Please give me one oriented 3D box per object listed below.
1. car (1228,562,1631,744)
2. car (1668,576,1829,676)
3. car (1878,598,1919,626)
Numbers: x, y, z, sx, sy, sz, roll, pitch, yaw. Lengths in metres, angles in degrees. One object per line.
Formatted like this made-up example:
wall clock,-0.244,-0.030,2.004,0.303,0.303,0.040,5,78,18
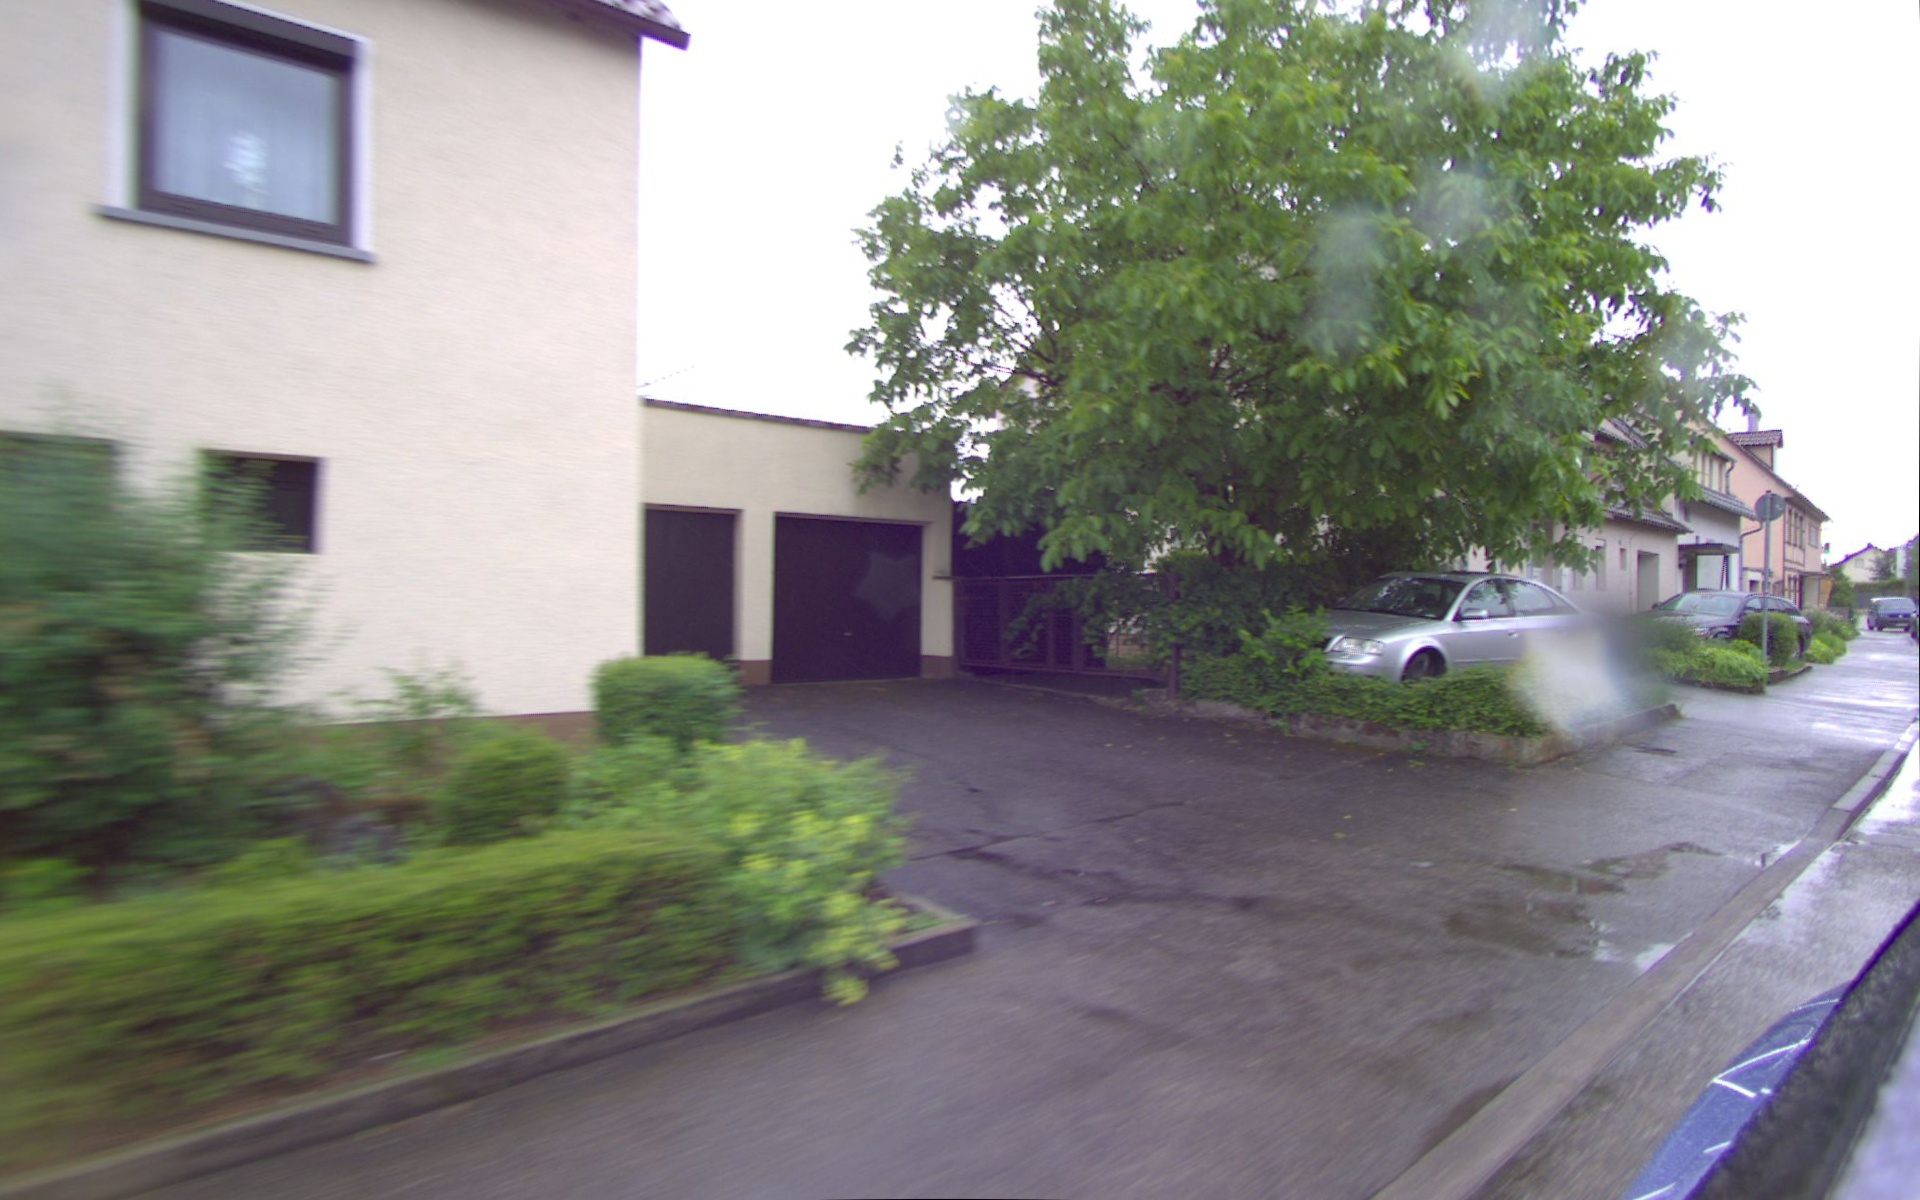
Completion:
car,5.380,0.500,11.499,4.388,1.732,1.916,0,0,-28
car,15.633,0.463,20.002,4.003,1.753,1.994,0,-1,-45
car,54.203,0.677,58.217,1.992,1.549,3.939,-2,-1,42
